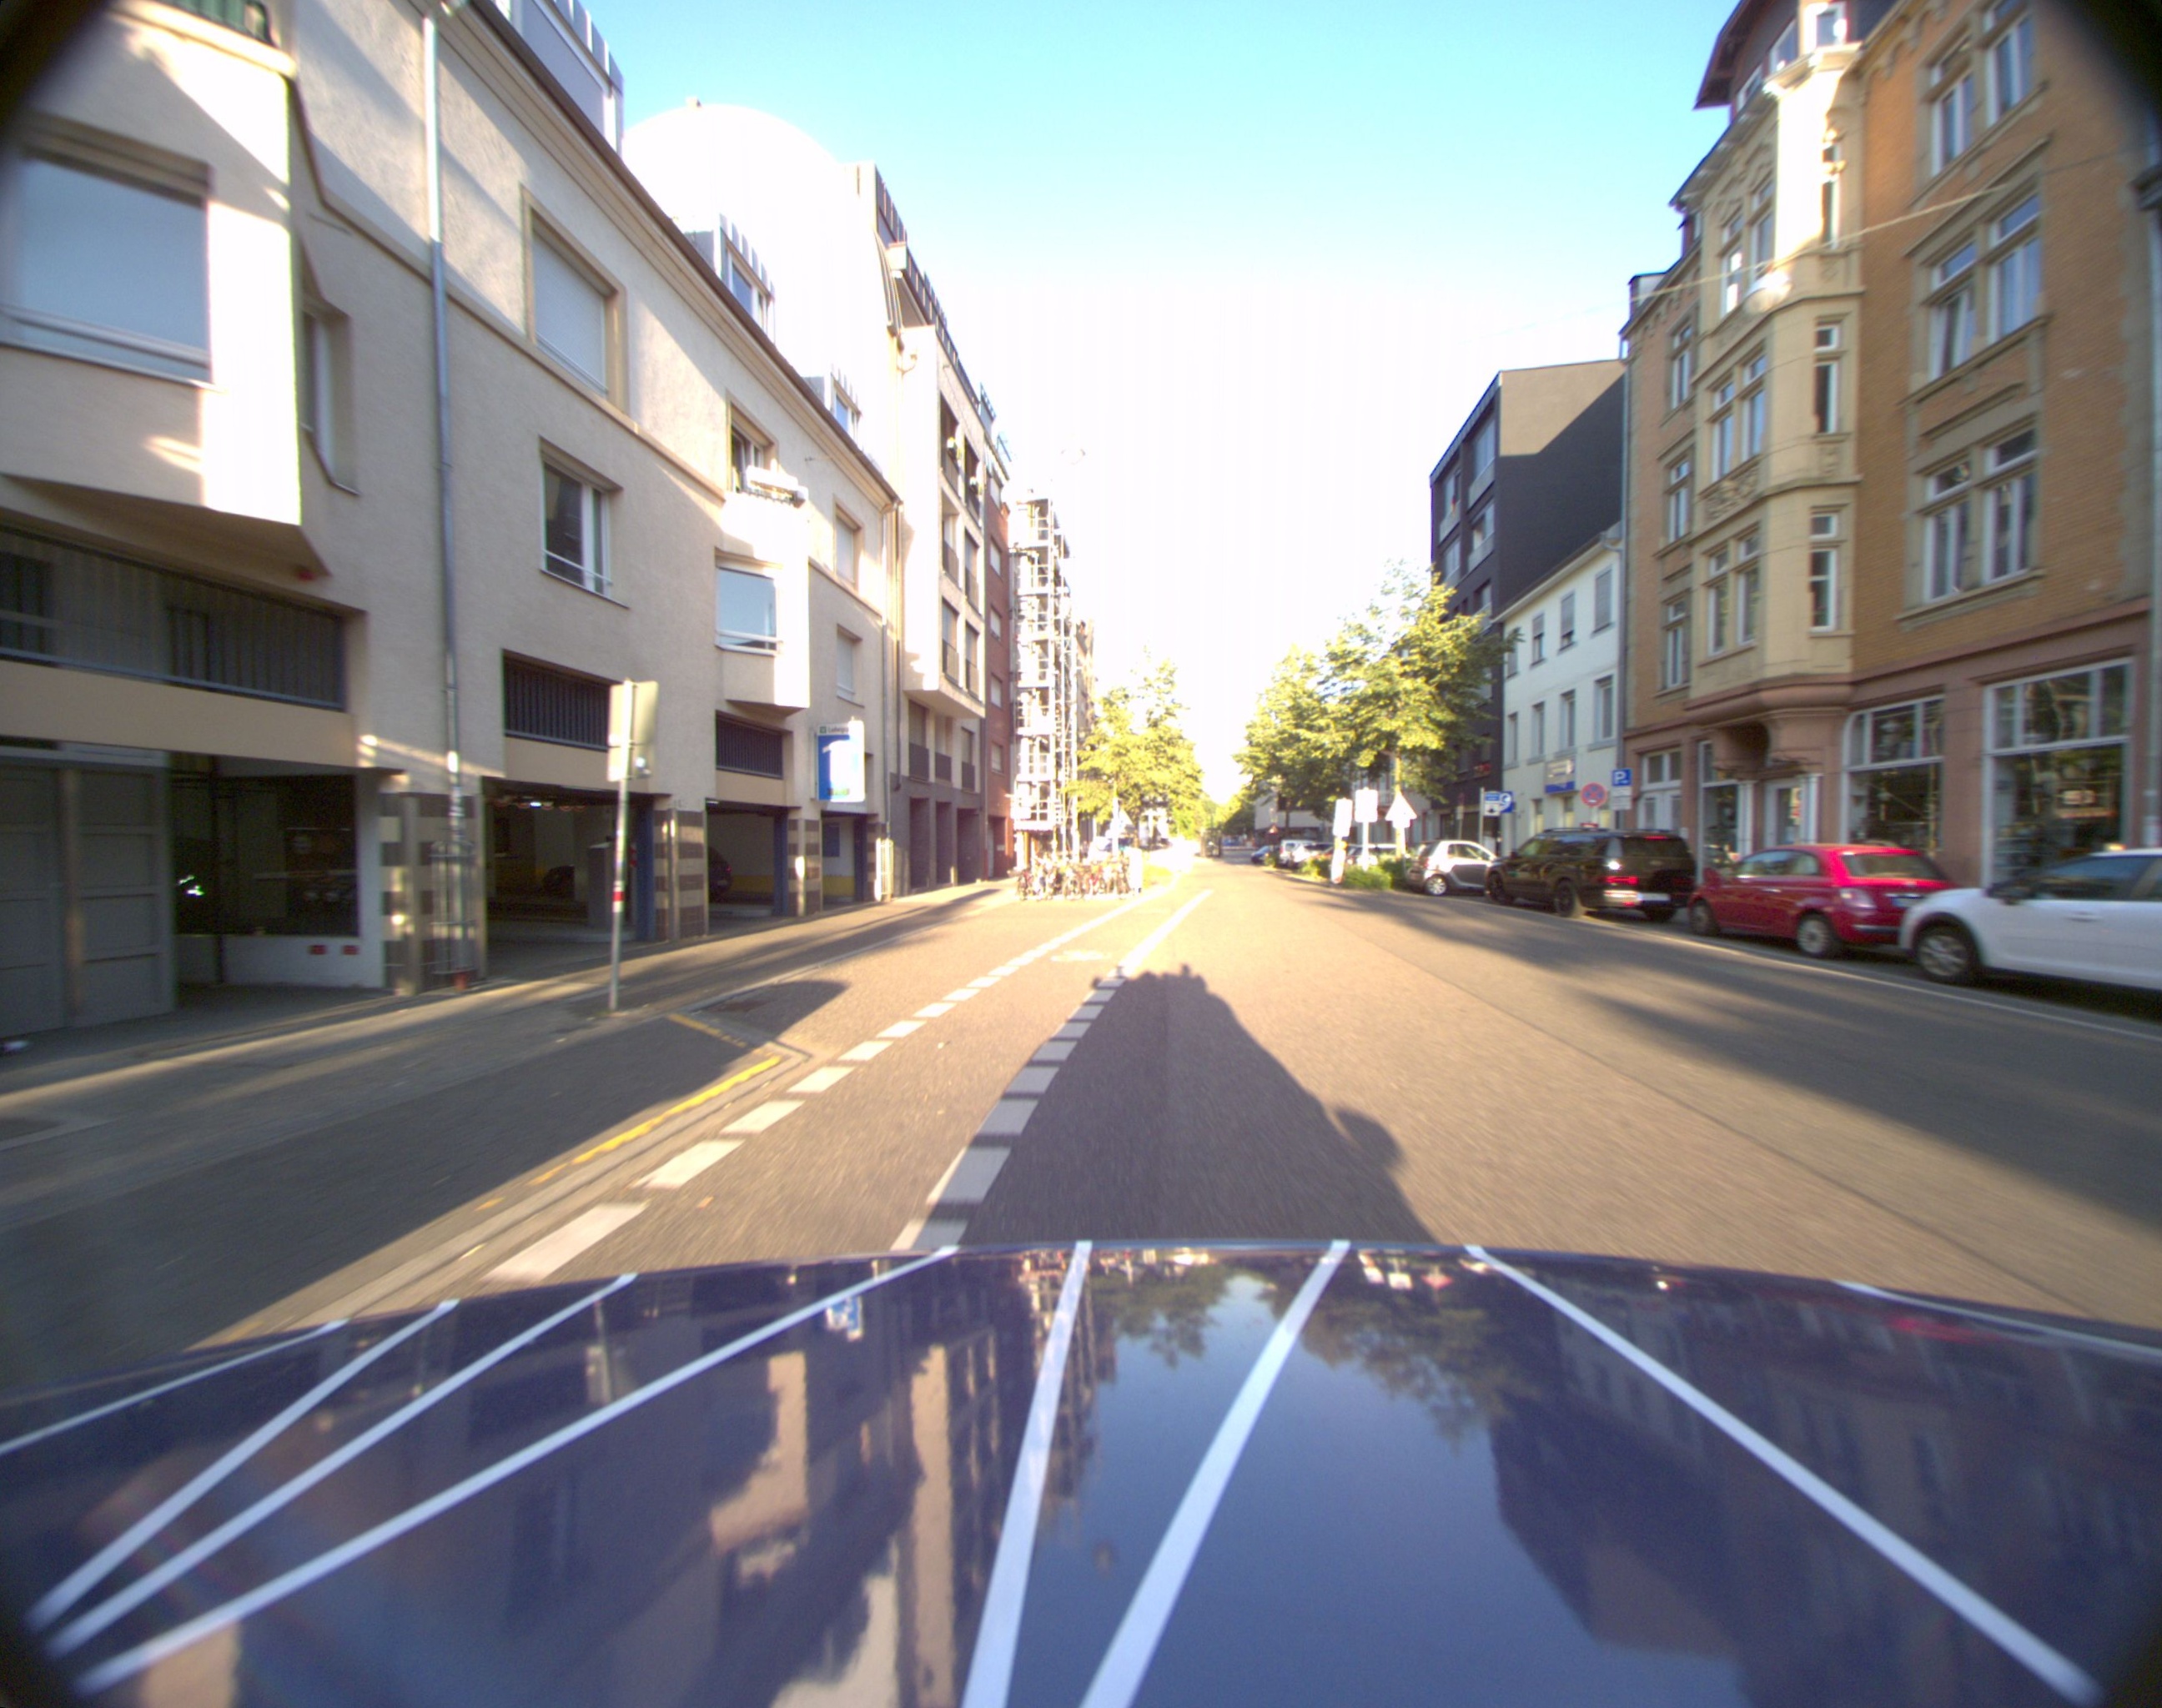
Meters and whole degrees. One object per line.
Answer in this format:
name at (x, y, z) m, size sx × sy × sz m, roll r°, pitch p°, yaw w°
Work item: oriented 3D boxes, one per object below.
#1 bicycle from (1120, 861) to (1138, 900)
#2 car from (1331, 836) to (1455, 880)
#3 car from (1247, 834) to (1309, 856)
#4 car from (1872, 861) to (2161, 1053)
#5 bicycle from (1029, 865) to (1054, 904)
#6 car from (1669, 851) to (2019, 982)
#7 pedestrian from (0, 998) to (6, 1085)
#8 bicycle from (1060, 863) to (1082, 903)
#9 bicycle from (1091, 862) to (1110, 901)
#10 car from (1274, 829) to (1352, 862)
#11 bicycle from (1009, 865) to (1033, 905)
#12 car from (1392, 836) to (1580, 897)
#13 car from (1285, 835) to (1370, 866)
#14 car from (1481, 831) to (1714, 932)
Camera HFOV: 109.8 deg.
bicycle at (1.319, 0.714, 21.000) m, size 0.469 × 0.953 × 1.919 m, roll 0°, pitch 2°, yaw 3°
car at (11.803, 0.122, 28.923) m, size 3.908 × 1.573 × 1.959 m, roll 1°, pitch 2°, yaw 3°
car at (15.303, -0.726, 59.131) m, size 4.195 × 1.618 × 2.054 m, roll 0°, pitch 2°, yaw -10°
car at (9.637, 0.862, 6.615) m, size 1.769 × 1.456 × 3.868 m, roll 1°, pitch 2°, yaw 8°
bicycle at (-1.066, 0.809, 20.714) m, size 0.469 × 0.953 × 1.919 m, roll 0°, pitch 2°, yaw 3°
car at (10.400, 0.724, 10.791) m, size 1.688 × 1.456 × 3.543 m, roll 1°, pitch 2°, yaw 8°
pedestrian at (-7.785, 0.838, 5.056) m, size 0.461 × 1.564 × 0.489 m, roll -1°, pitch 2°, yaw 1°
bicycle at (-0.254, 0.775, 20.927) m, size 0.469 × 0.953 × 1.919 m, roll 0°, pitch 2°, yaw 3°
bicycle at (0.560, 0.743, 20.983) m, size 0.469 × 0.953 × 1.919 m, roll 0°, pitch 2°, yaw 3°
car at (14.306, -0.562, 47.043) m, size 4.190 × 1.972 × 2.056 m, roll 1°, pitch 2°, yaw 3°
bicycle at (-1.645, 0.830, 20.886) m, size 0.469 × 0.953 × 1.918 m, roll 0°, pitch 2°, yaw 1°
car at (11.294, 0.307, 21.455) m, size 4.190 × 1.573 × 2.056 m, roll 1°, pitch 2°, yaw 3°
car at (13.543, -0.220, 41.964) m, size 4.129 × 1.667 × 1.997 m, roll 1°, pitch 2°, yaw 4°
car at (10.175, 0.427, 15.466) m, size 2.054 × 1.743 × 4.218 m, roll 1°, pitch 2°, yaw 4°
